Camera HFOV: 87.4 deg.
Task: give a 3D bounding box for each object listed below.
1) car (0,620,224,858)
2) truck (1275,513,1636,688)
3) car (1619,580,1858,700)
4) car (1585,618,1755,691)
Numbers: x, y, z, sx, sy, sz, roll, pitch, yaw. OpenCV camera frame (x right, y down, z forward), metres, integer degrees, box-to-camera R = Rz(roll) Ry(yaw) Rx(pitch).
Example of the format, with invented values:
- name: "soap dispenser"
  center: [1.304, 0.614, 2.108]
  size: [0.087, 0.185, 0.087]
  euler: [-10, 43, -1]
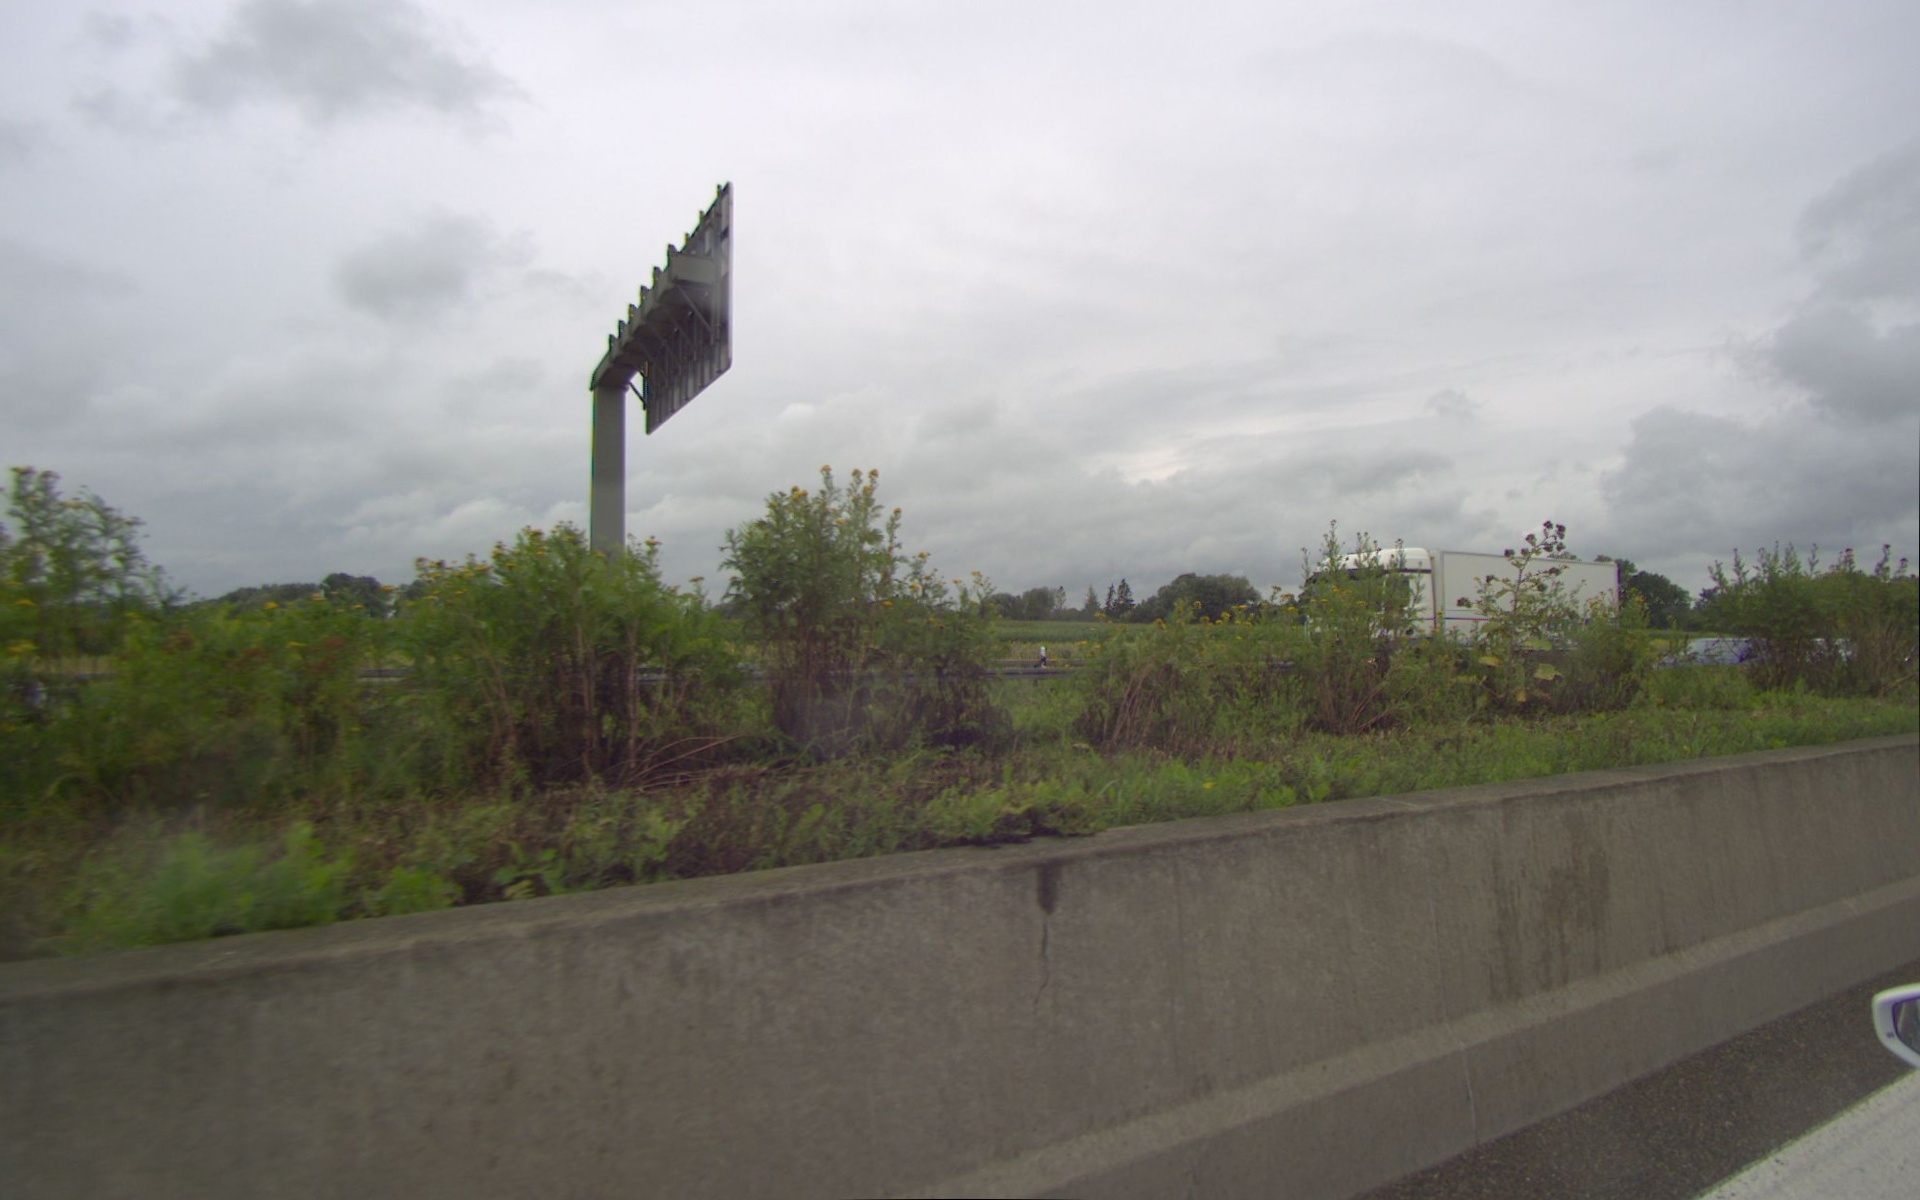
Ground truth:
- name: "car"
  center: [-9.034, 1.157, 8.718]
  size: [4.048, 1.930, 1.745]
  euler: [1, 0, -30]
- name: "truck"
  center: [13.571, 0.140, 27.065]
  size: [10.680, 4.020, 3.170]
  euler: [2, 0, -29]
- name: "car"
  center: [14.926, 0.754, 19.209]
  size: [4.779, 2.040, 1.984]
  euler: [1, -2, -30]
- name: "car"
  center: [16.916, 1.258, 23.907]
  size: [3.953, 1.617, 1.858]
  euler: [1, -2, -30]
